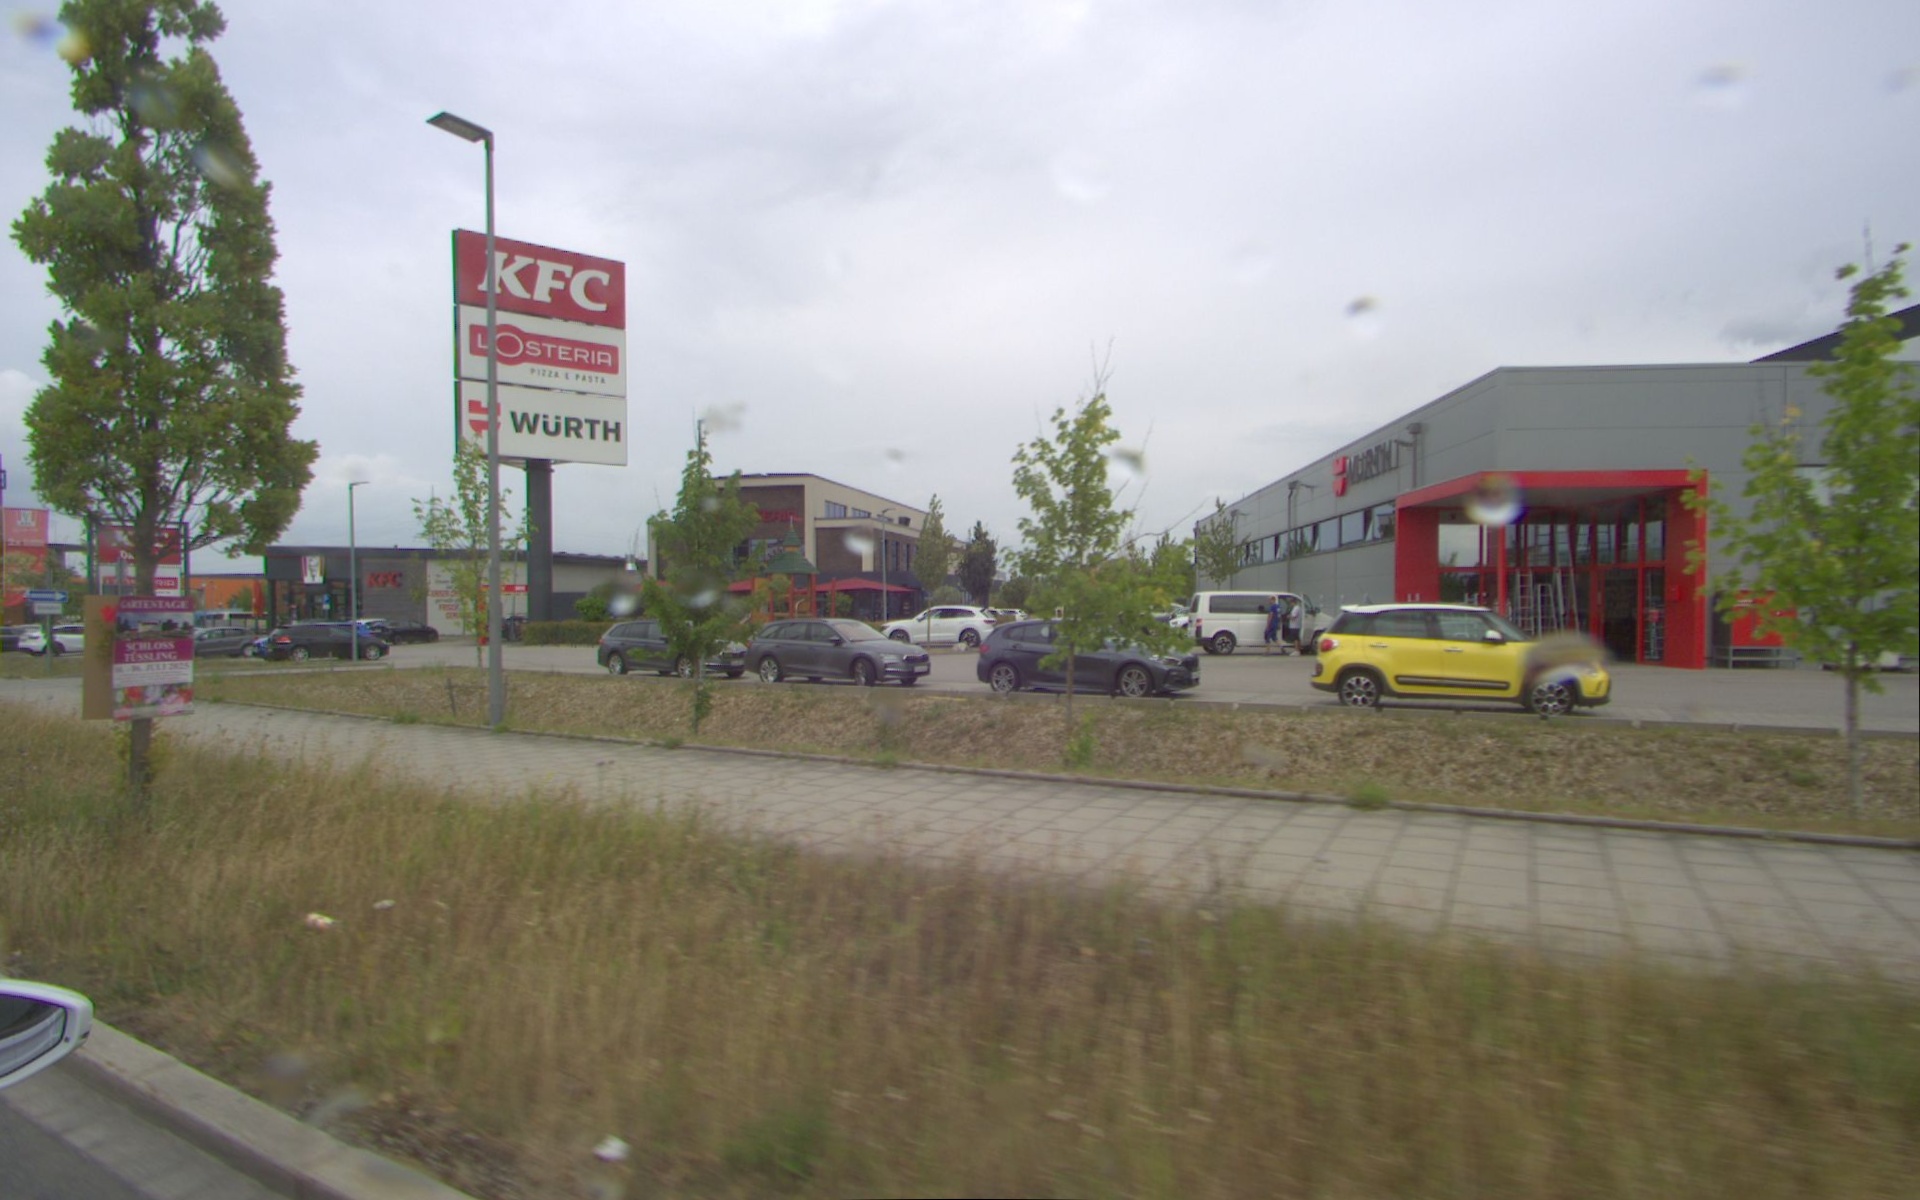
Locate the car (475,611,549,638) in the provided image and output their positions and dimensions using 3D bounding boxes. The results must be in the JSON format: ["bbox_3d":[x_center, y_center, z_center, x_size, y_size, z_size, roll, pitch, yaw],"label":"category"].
[{"bbox_3d":[-28.163,1.508,63.113,1.862,1.539,4.571,0,0,14],"label":"car"}]

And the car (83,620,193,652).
[{"bbox_3d":[-42.568,1.828,51.917,1.911,1.504,3.982,-1,0,29],"label":"car"}]

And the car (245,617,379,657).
[{"bbox_3d":[-26.574,1.467,41.194,1.939,1.540,4.251,0,-1,34],"label":"car"}]

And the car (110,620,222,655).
[{"bbox_3d":[-38.721,1.790,48.921,1.874,1.501,3.854,-1,1,30],"label":"car"}]

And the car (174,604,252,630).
[{"bbox_3d":[-75.123,1.682,100.803,5.955,2.562,2.271,0,0,-27],"label":"car"}]

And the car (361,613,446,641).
[{"bbox_3d":[-33.948,1.642,61.257,1.941,1.539,4.571,0,0,14],"label":"car"}]

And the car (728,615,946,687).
[{"bbox_3d":[-2.822,1.071,22.520,4.810,1.456,1.860,0,0,32],"label":"car"}]

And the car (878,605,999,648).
[{"bbox_3d":[-0.830,1.058,40.920,4.700,1.720,2.000,0,0,6],"label":"car"}]

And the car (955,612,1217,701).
[{"bbox_3d":[2.372,1.032,19.117,4.540,1.516,1.991,-2,-1,30],"label":"car"}]

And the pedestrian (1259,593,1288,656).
[{"bbox_3d":[9.480,0.730,30.306,0.607,1.893,0.796,0,0,37],"label":"pedestrian"}]

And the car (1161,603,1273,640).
[{"bbox_3d":[11.187,0.919,43.841,4.488,1.539,2.080,-1,1,7],"label":"car"}]

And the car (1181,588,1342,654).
[{"bbox_3d":[9.489,0.671,31.835,4.546,2.013,2.000,0,0,4],"label":"car"}]

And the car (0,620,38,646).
[{"bbox_3d":[-56.220,1.921,57.743,1.908,1.457,4.089,0,0,19],"label":"car"}]

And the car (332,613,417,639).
[{"bbox_3d":[-37.852,1.651,64.888,2.043,1.539,4.569,0,0,16],"label":"car"}]

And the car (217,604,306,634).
[{"bbox_3d":[-57.703,1.547,82.831,2.490,2.382,5.681,0,0,18],"label":"car"}]

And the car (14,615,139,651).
[{"bbox_3d":[-47.243,1.722,53.683,2.054,1.667,4.560,0,1,25],"label":"car"}]

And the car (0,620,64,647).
[{"bbox_3d":[-53.663,1.877,56.307,1.997,1.488,4.522,0,0,20],"label":"car"}]

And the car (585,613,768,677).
[{"bbox_3d":[-7.343,1.092,25.787,4.765,1.479,1.956,0,0,34],"label":"car"}]

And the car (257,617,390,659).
[{"bbox_3d":[-24.853,1.444,39.194,1.956,1.513,3.973,-1,-1,37],"label":"car"}]

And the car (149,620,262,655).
[{"bbox_3d":[-34.795,1.689,46.249,1.863,1.513,3.751,-1,-1,32],"label":"car"}]

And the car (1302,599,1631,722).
[{"bbox_3d":[7.692,0.860,15.622,4.338,1.708,1.763,0,0,24],"label":"car"}]
